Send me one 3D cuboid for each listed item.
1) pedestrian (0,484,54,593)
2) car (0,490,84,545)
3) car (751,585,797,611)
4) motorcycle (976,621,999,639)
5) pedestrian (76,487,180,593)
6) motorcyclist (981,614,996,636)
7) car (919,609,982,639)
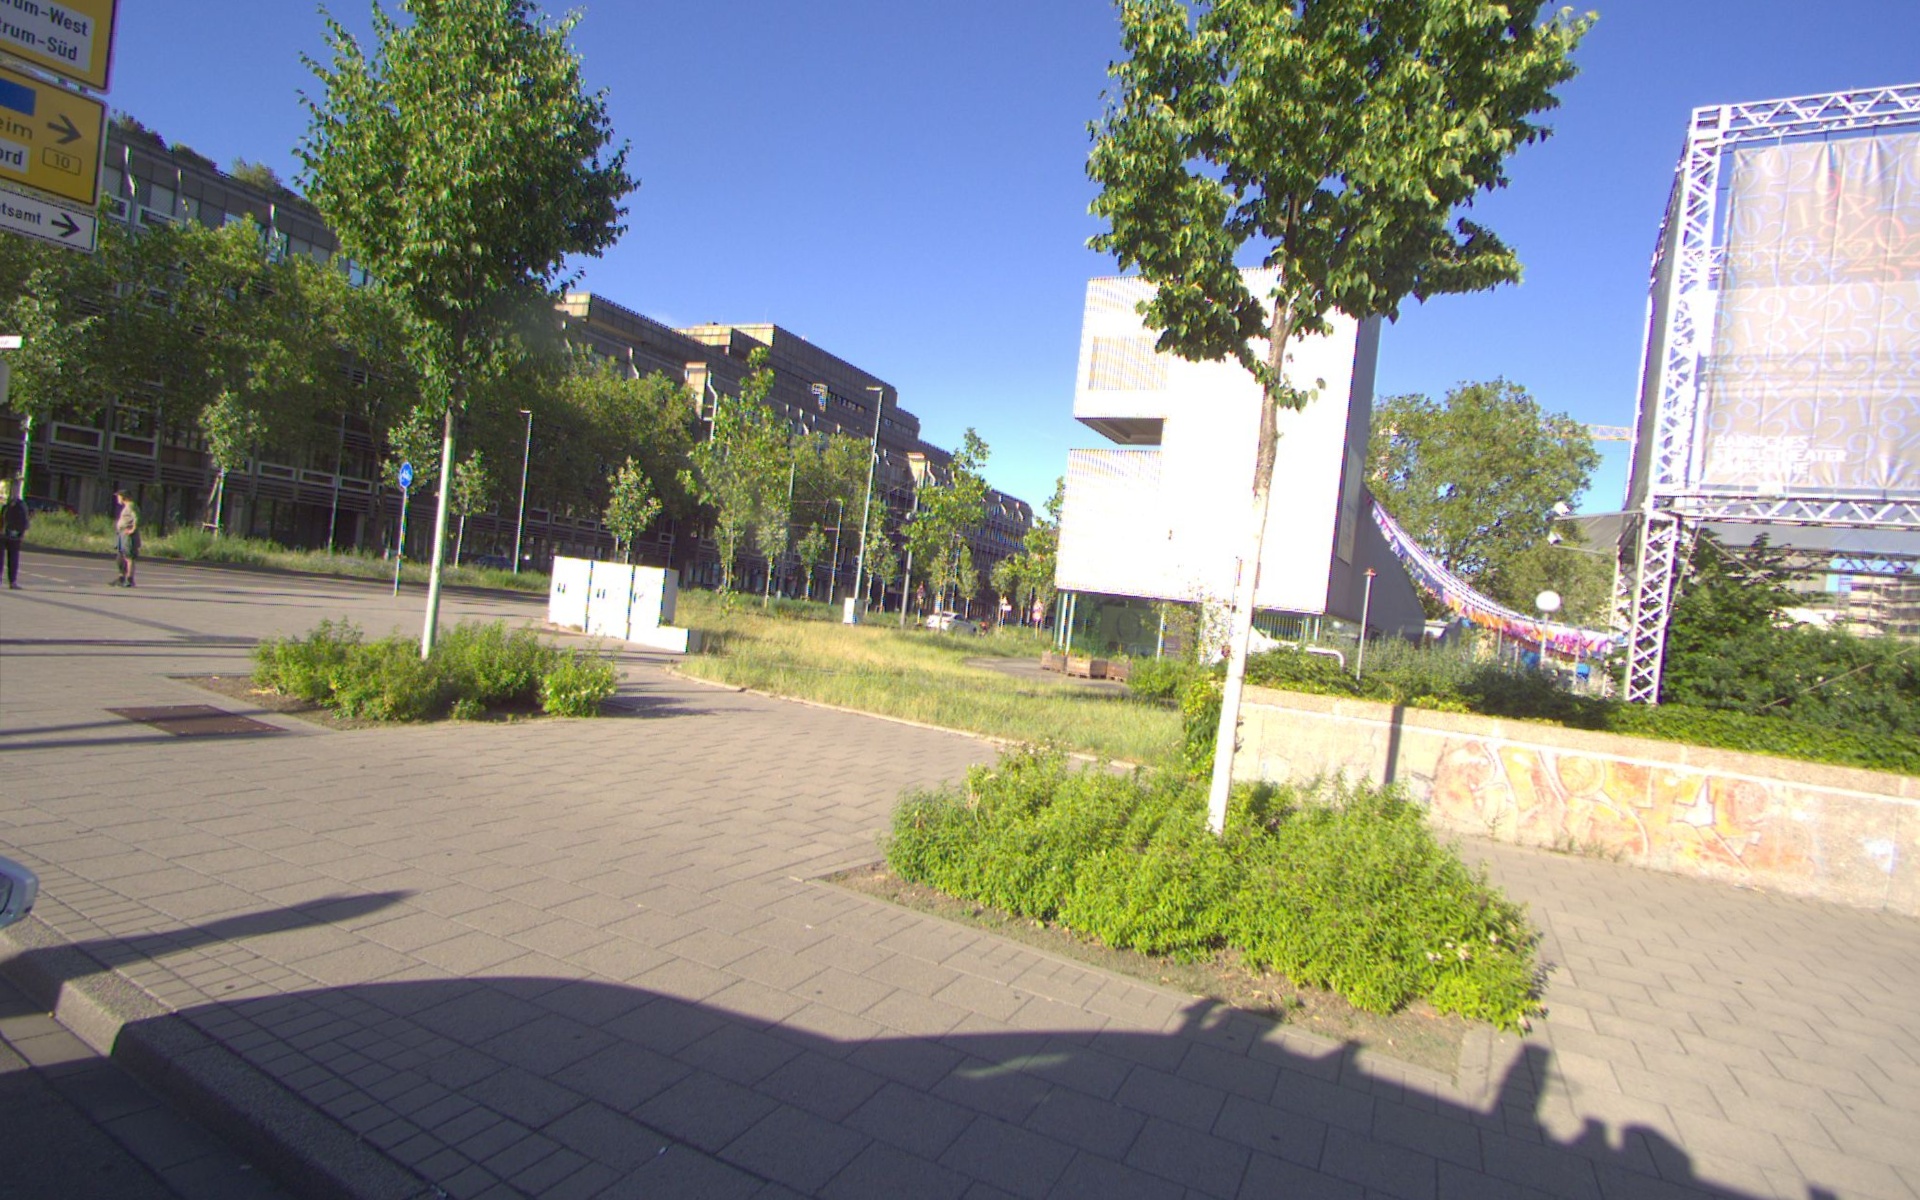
[{"bbox_3d":[-14.039,-0.917,14.784,0.633,1.510,0.789,6,-1,31],"label":"pedestrian"},{"bbox_3d":[-33.273,-2.986,34.913,1.629,1.604,3.896,6,-1,24],"label":"car"},{"bbox_3d":[-15.171,-0.147,82.271,1.630,1.603,3.912,7,-2,25],"label":"car"},{"bbox_3d":[1.689,1.843,61.549,0.551,0.970,2.080,7,0,25],"label":"motorcycle"},{"bbox_3d":[-14.851,-1.053,17.979,0.946,1.684,0.882,7,-1,11],"label":"pedestrian"},{"bbox_3d":[1.755,1.533,61.623,0.551,1.263,0.727,7,0,26],"label":"motorcyclist"},{"bbox_3d":[-0.532,1.523,63.264,1.820,1.437,4.956,7,-1,26],"label":"car"}]
